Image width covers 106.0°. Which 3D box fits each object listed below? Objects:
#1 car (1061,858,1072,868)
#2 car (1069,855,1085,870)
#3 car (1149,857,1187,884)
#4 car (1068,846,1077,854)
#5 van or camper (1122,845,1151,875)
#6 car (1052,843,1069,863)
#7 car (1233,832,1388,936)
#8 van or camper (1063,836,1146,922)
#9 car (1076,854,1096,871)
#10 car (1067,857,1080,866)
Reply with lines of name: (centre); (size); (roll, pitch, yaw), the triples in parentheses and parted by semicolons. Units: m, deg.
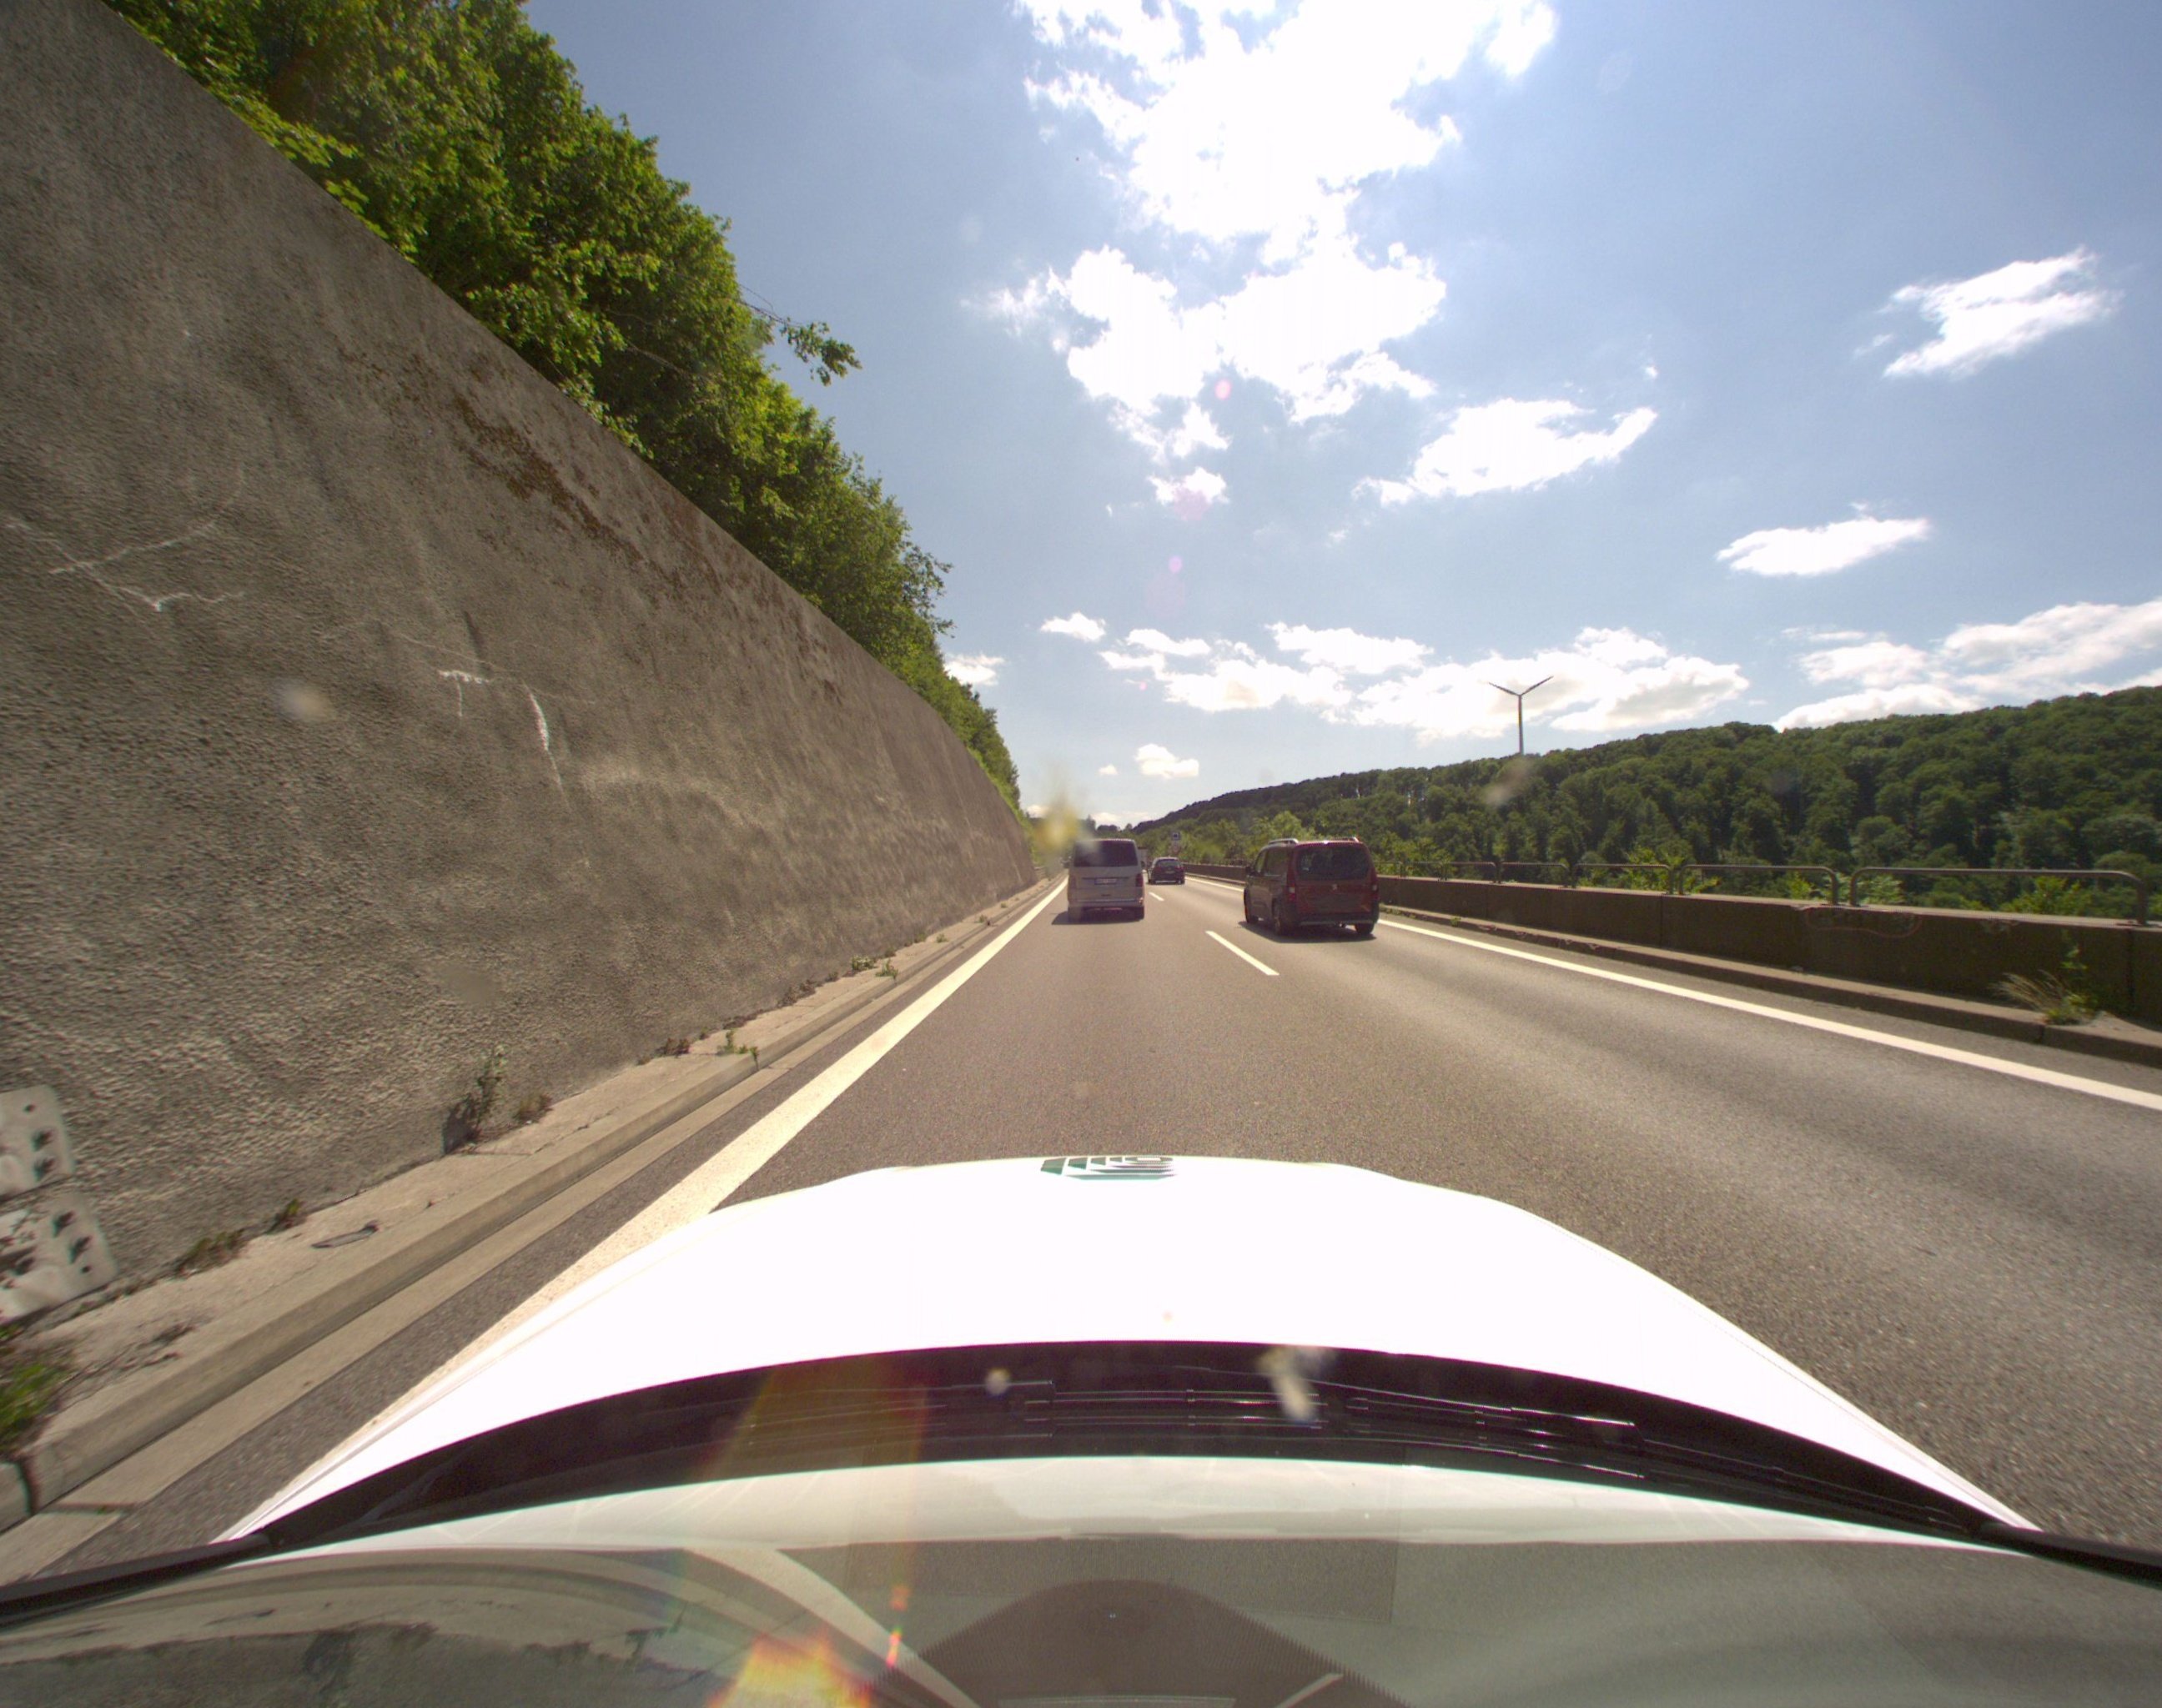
car: (-2.989, 1.918, 171.293); (1.986, 2.014, 4.002); (-3, -1, 2)
car: (-0.519, 1.083, 108.311); (1.987, 1.915, 3.999); (-1, 0, -1)
car: (4.747, 0.886, 44.909); (1.762, 1.376, 3.593); (-1, 0, 1)
car: (-2.187, -0.982, 210.795); (1.991, 2.013, 3.991); (-1, 0, -7)
van or camper: (5.050, 0.532, 74.191); (2.256, 2.551, 4.736); (-3, -1, 1)
car: (-5.351, -0.292, 210.743); (4.033, 4.871, 10.101); (-1, 0, -2)
car: (4.511, 0.567, 16.785); (1.827, 1.784, 4.675); (-2, -1, 0)
van or camper: (0.667, 0.557, 21.123); (1.868, 1.949, 4.297); (-2, 1, 3)
car: (0.529, 0.885, 89.034); (1.988, 1.817, 3.998); (-1, 0, -1)
car: (-1.283, 1.273, 140.565); (2.137, 1.607, 5.074); (-1, 0, -2)
